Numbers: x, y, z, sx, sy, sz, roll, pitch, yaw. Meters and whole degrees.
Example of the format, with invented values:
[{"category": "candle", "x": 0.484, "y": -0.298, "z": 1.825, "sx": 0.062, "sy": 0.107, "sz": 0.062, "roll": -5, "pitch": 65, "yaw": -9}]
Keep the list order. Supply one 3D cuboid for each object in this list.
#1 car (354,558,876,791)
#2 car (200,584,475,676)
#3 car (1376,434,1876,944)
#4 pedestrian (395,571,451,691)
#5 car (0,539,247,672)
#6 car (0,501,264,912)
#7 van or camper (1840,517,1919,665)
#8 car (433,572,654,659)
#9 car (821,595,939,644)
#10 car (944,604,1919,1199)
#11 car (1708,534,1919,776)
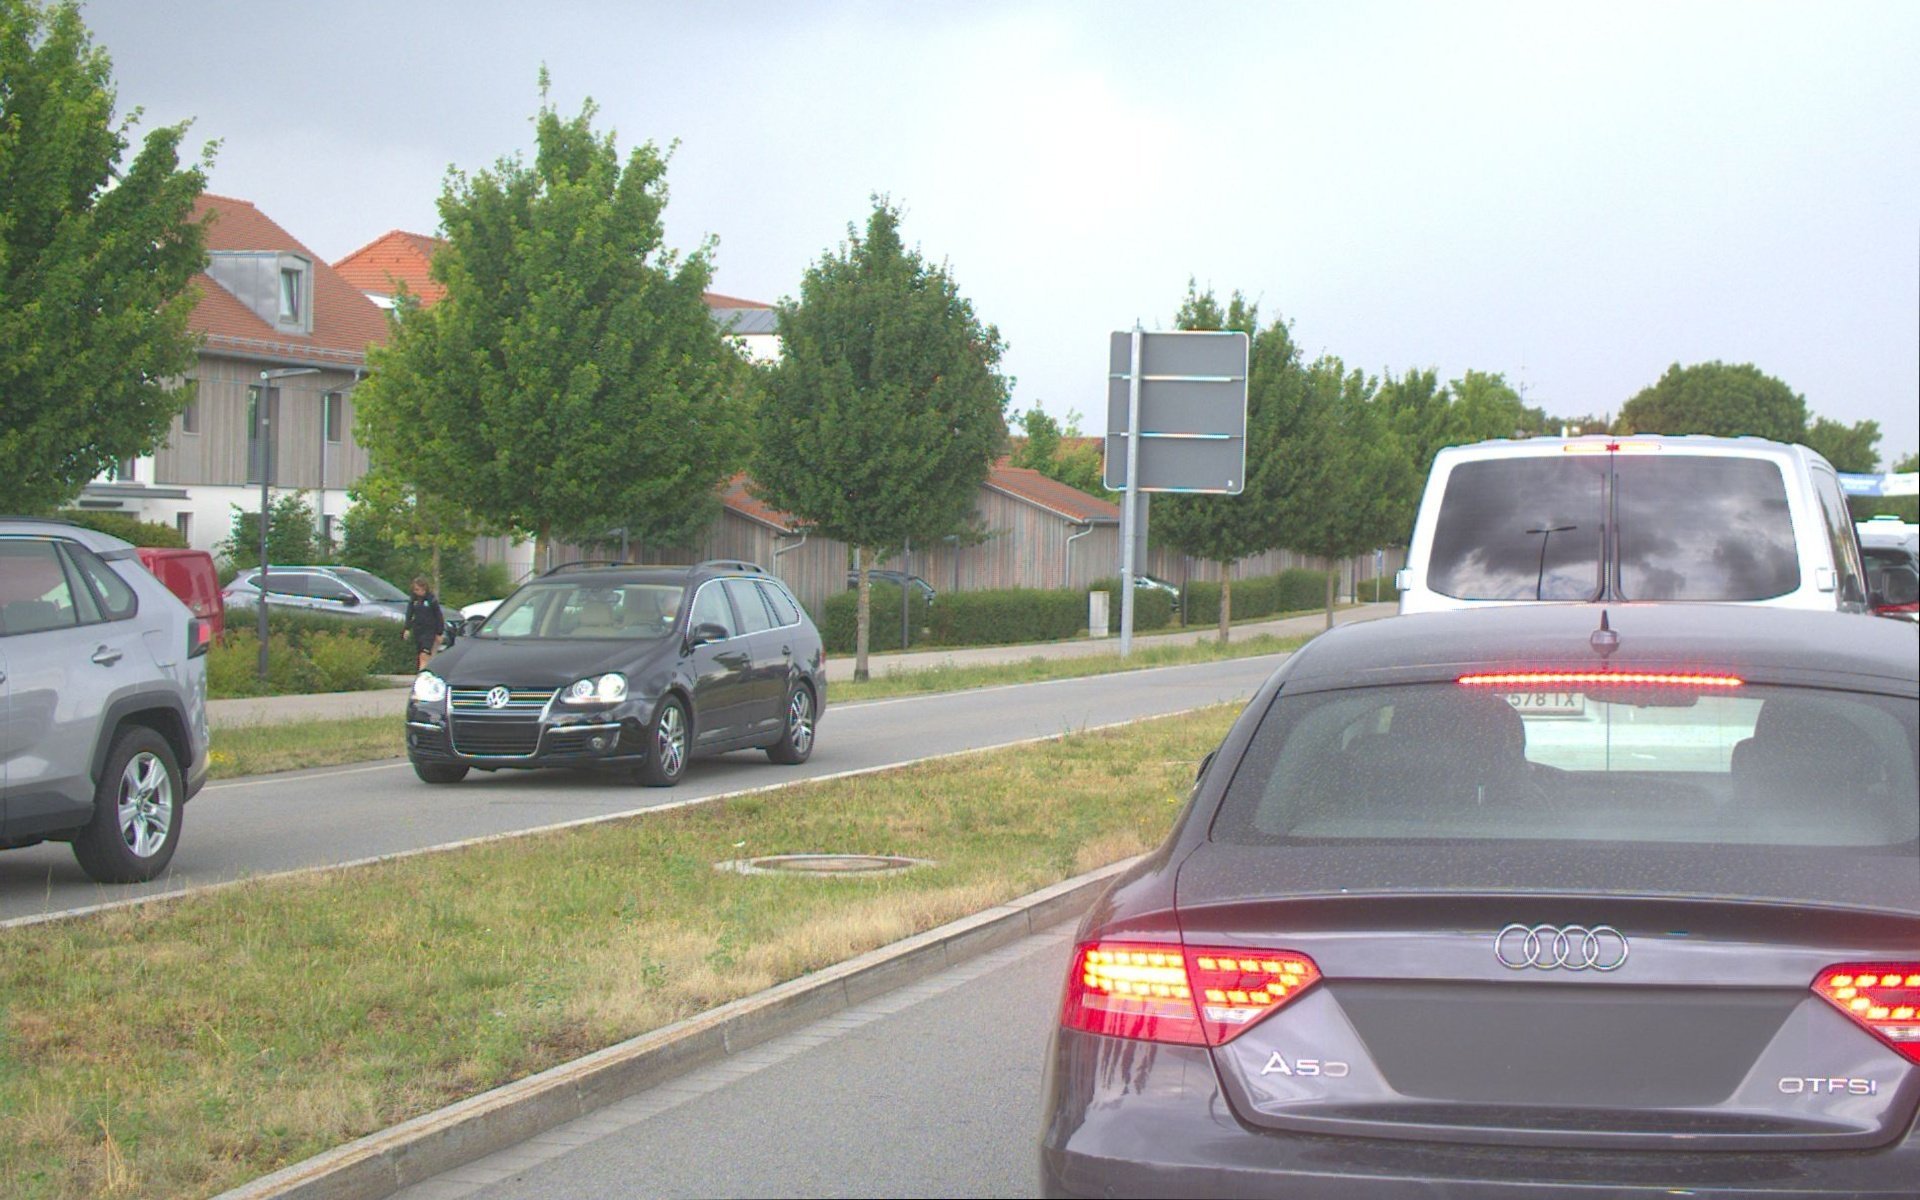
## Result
[{"category": "car", "x": -2.227, "y": 0.439, "z": 23.549, "sx": 1.755, "sy": 1.411, "sz": 4.451, "roll": 1, "pitch": 1, "yaw": 21}, {"category": "car", "x": -9.960, "y": 0.468, "z": 55.097, "sx": 3.917, "sy": 1.310, "sz": 1.841, "roll": 2, "pitch": 1, "yaw": 14}, {"category": "car", "x": 3.012, "y": 0.298, "z": 15.157, "sx": 1.868, "sy": 1.927, "sz": 3.998, "roll": 1, "pitch": 1, "yaw": 14}, {"category": "pedestrian", "x": -7.056, "y": 0.401, "z": 45.190, "sx": 0.581, "sy": 1.553, "sz": 0.660, "roll": 2, "pitch": 1, "yaw": 2}, {"category": "car", "x": -12.280, "y": 0.037, "z": 47.031, "sx": 4.535, "sy": 1.674, "sz": 1.998, "roll": 2, "pitch": 1, "yaw": 19}, {"category": "car", "x": -4.955, "y": 0.441, "z": 14.372, "sx": 1.995, "sy": 1.698, "sz": 4.631, "roll": 0, "pitch": 0, "yaw": 18}, {"category": "van or camper", "x": 22.341, "y": -0.184, "z": 81.487, "sx": 2.627, "sy": 3.312, "sz": 6.816, "roll": 2, "pitch": 0, "yaw": 15}, {"category": "car", "x": -7.807, "y": 0.279, "z": 64.585, "sx": 3.731, "sy": 1.477, "sz": 1.685, "roll": 2, "pitch": 1, "yaw": 13}, {"category": "car", "x": -1.824, "y": 0.433, "z": 78.507, "sx": 2.473, "sy": 1.025, "sz": 1.185, "roll": 2, "pitch": 1, "yaw": 11}, {"category": "car", "x": 1.338, "y": 0.741, "z": 6.683, "sx": 1.785, "sy": 1.387, "sz": 4.130, "roll": 1, "pitch": 1, "yaw": 14}, {"category": "car", "x": 6.500, "y": 0.345, "z": 25.069, "sx": 1.778, "sy": 1.612, "sz": 3.997, "roll": 1, "pitch": 1, "yaw": 16}]
